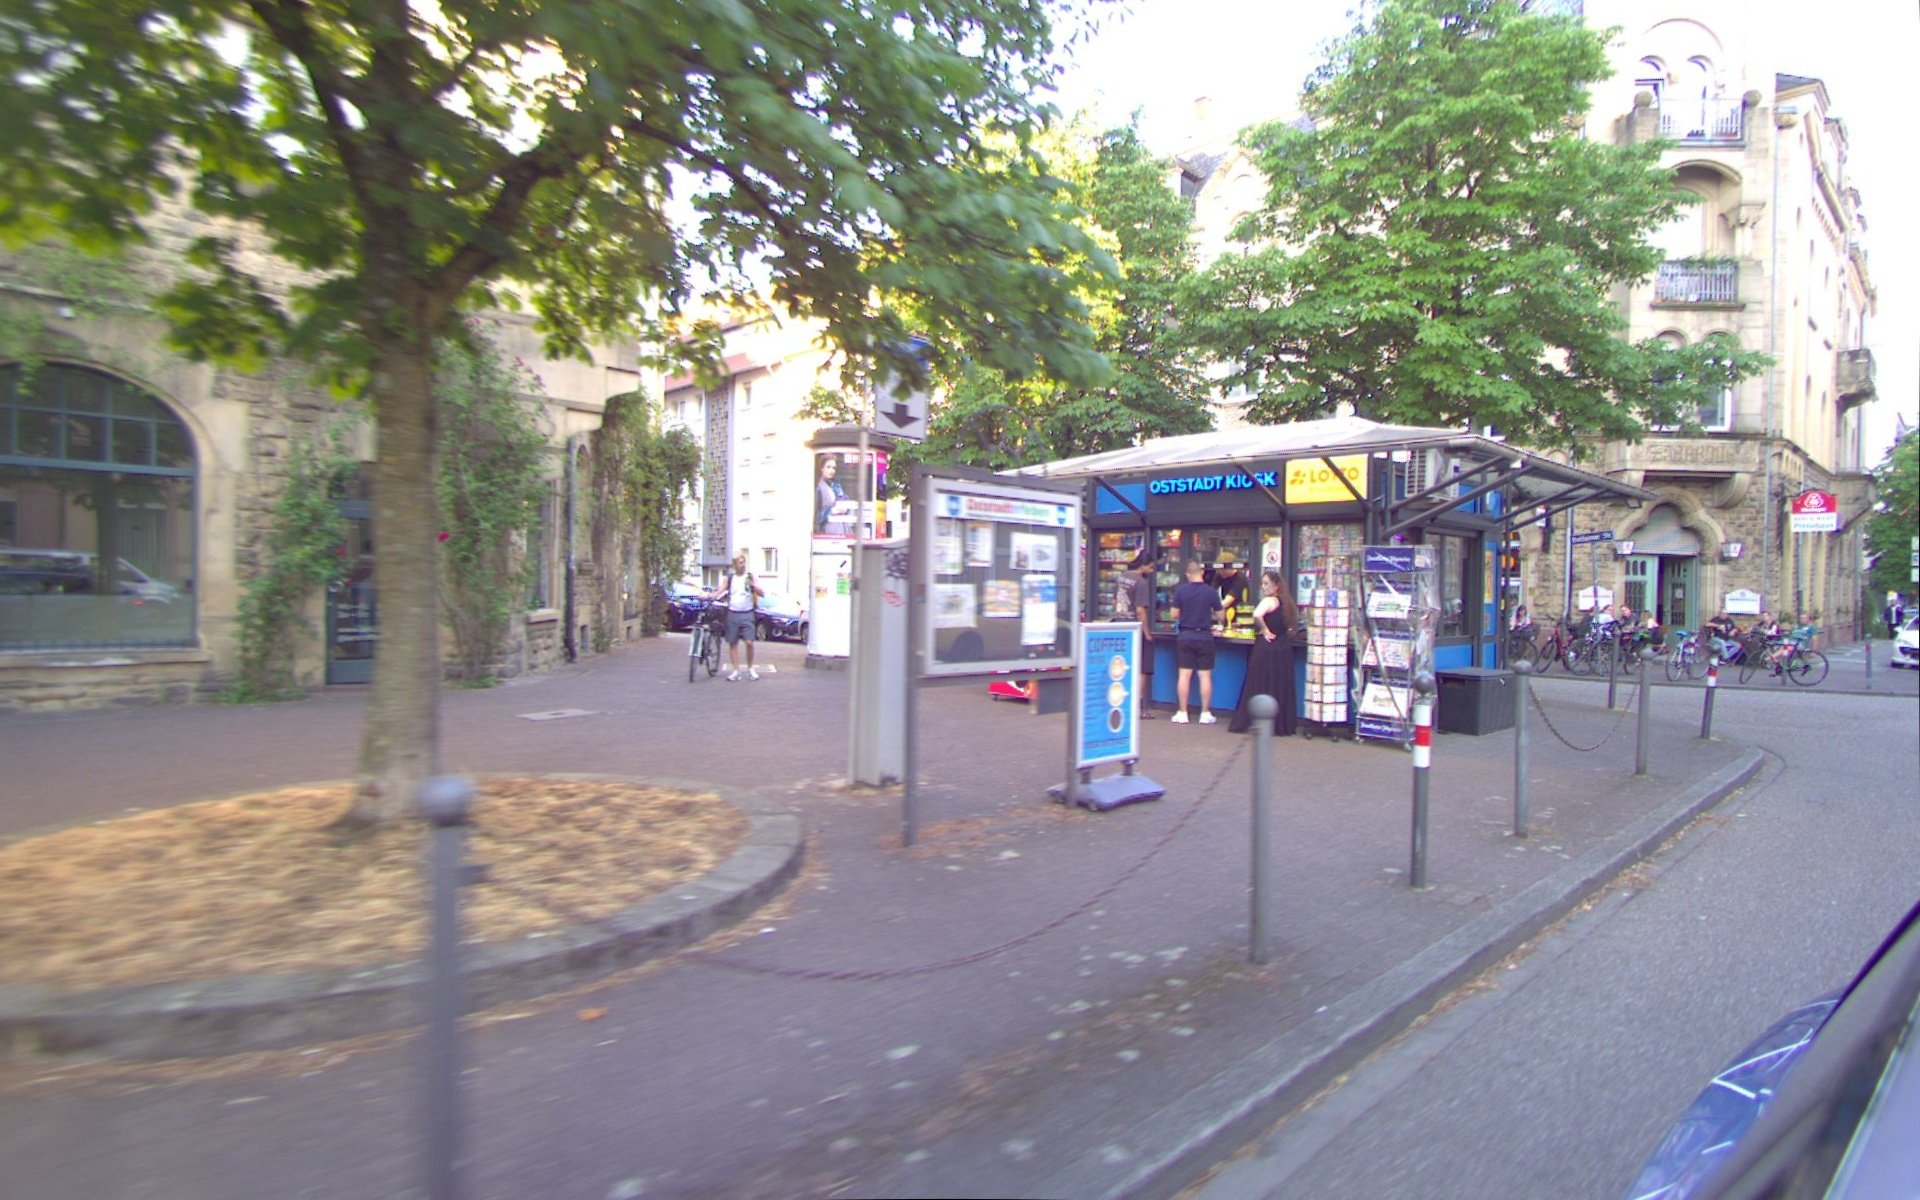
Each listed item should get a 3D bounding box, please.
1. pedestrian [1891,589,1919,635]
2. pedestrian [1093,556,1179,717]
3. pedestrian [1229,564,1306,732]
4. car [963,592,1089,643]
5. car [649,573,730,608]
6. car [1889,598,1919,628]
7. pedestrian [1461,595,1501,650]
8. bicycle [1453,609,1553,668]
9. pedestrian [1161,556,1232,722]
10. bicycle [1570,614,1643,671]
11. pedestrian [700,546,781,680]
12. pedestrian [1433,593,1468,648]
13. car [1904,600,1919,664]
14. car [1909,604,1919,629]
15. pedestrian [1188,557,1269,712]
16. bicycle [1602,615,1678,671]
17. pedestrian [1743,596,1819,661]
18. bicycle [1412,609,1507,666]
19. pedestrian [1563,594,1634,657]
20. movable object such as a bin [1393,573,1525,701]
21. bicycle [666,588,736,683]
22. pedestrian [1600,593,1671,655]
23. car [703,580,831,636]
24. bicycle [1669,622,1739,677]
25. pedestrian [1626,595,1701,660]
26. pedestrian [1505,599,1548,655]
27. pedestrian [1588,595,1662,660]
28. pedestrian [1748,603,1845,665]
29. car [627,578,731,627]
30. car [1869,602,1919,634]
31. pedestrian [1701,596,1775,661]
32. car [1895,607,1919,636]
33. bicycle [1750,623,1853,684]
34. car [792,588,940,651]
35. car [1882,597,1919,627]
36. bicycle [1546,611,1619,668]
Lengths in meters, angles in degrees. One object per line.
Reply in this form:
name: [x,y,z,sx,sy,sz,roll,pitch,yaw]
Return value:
pedestrian: [37.348,0.461,39.856,0.819,1.788,0.851,1,1,-40]
pedestrian: [1.894,0.368,10.899,0.581,1.658,0.676,0,1,-44]
pedestrian: [2.966,0.443,9.796,0.669,1.558,0.588,1,0,16]
car: [2.056,0.526,32.281,1.795,1.502,3.900,1,0,-41]
car: [-12.399,-0.414,46.301,3.892,1.502,1.798,0,0,42]
car: [56.569,0.808,58.379,1.793,1.697,4.294,1,1,-44]
pedestrian: [12.967,0.552,25.199,0.729,1.337,0.657,1,0,43]
bicycle: [11.478,0.793,21.416,1.821,1.166,0.551,1,0,34]
pedestrian: [2.460,0.380,10.496,0.669,1.658,0.588,1,0,16]
bicycle: [13.070,0.842,20.456,1.798,1.084,0.477,1,0,-31]
pedestrian: [-3.073,0.163,14.251,0.961,1.811,1.007,1,1,-4]
pedestrian: [12.480,0.513,25.737,0.590,1.375,0.726,1,0,43]
car: [24.834,0.832,24.868,4.383,1.502,1.768,1,3,-40]
car: [60.616,1.060,61.424,1.793,1.548,4.294,1,1,-44]
pedestrian: [2.985,0.361,11.240,0.675,1.658,0.582,1,1,39]
bicycle: [13.579,0.841,20.190,1.798,1.080,0.514,1,0,-31]
pedestrian: [19.058,0.653,23.517,1.080,1.414,0.843,2,1,-17]
bicycle: [11.046,0.812,22.406,1.822,1.176,0.532,1,0,34]
pedestrian: [14.925,0.585,23.678,1.082,1.414,0.842,0,1,-2]
movable object such as a bin: [6.402,0.443,13.024,0.751,1.493,1.227,1,3,-34]
bicycle: [-3.632,0.463,14.319,0.623,1.202,1.916,1,2,-5]
pedestrian: [15.819,0.547,23.716,1.082,1.414,0.842,0,1,-3]
car: [-5.628,0.230,29.207,1.796,1.502,3.994,1,0,-43]
bicycle: [14.220,0.930,19.337,1.671,0.992,0.448,1,0,-31]
pedestrian: [15.935,0.604,22.941,1.082,1.414,0.842,0,1,-3]
pedestrian: [13.585,0.642,24.266,0.703,1.299,0.864,1,0,42]
pedestrian: [15.030,0.608,22.905,1.082,1.414,0.842,0,1,-2]
pedestrian: [18.728,0.747,22.691,1.394,1.301,0.841,2,2,4]
car: [-9.266,0.078,33.170,1.795,1.502,3.900,1,0,-41]
car: [46.774,0.886,48.788,1.793,1.470,4.294,1,1,-44]
pedestrian: [17.949,0.644,23.370,0.881,1.414,1.011,3,0,4]
car: [53.168,1.191,54.318,1.793,1.548,4.294,1,1,-44]
bicycle: [15.572,0.982,18.754,1.450,1.052,0.431,1,1,6]
car: [-2.486,0.477,26.139,1.796,1.502,3.898,1,0,-43]
car: [51.234,0.666,52.948,1.793,1.548,4.294,1,1,-44]
bicycle: [12.912,0.801,20.979,1.798,1.126,0.504,1,0,-31]
